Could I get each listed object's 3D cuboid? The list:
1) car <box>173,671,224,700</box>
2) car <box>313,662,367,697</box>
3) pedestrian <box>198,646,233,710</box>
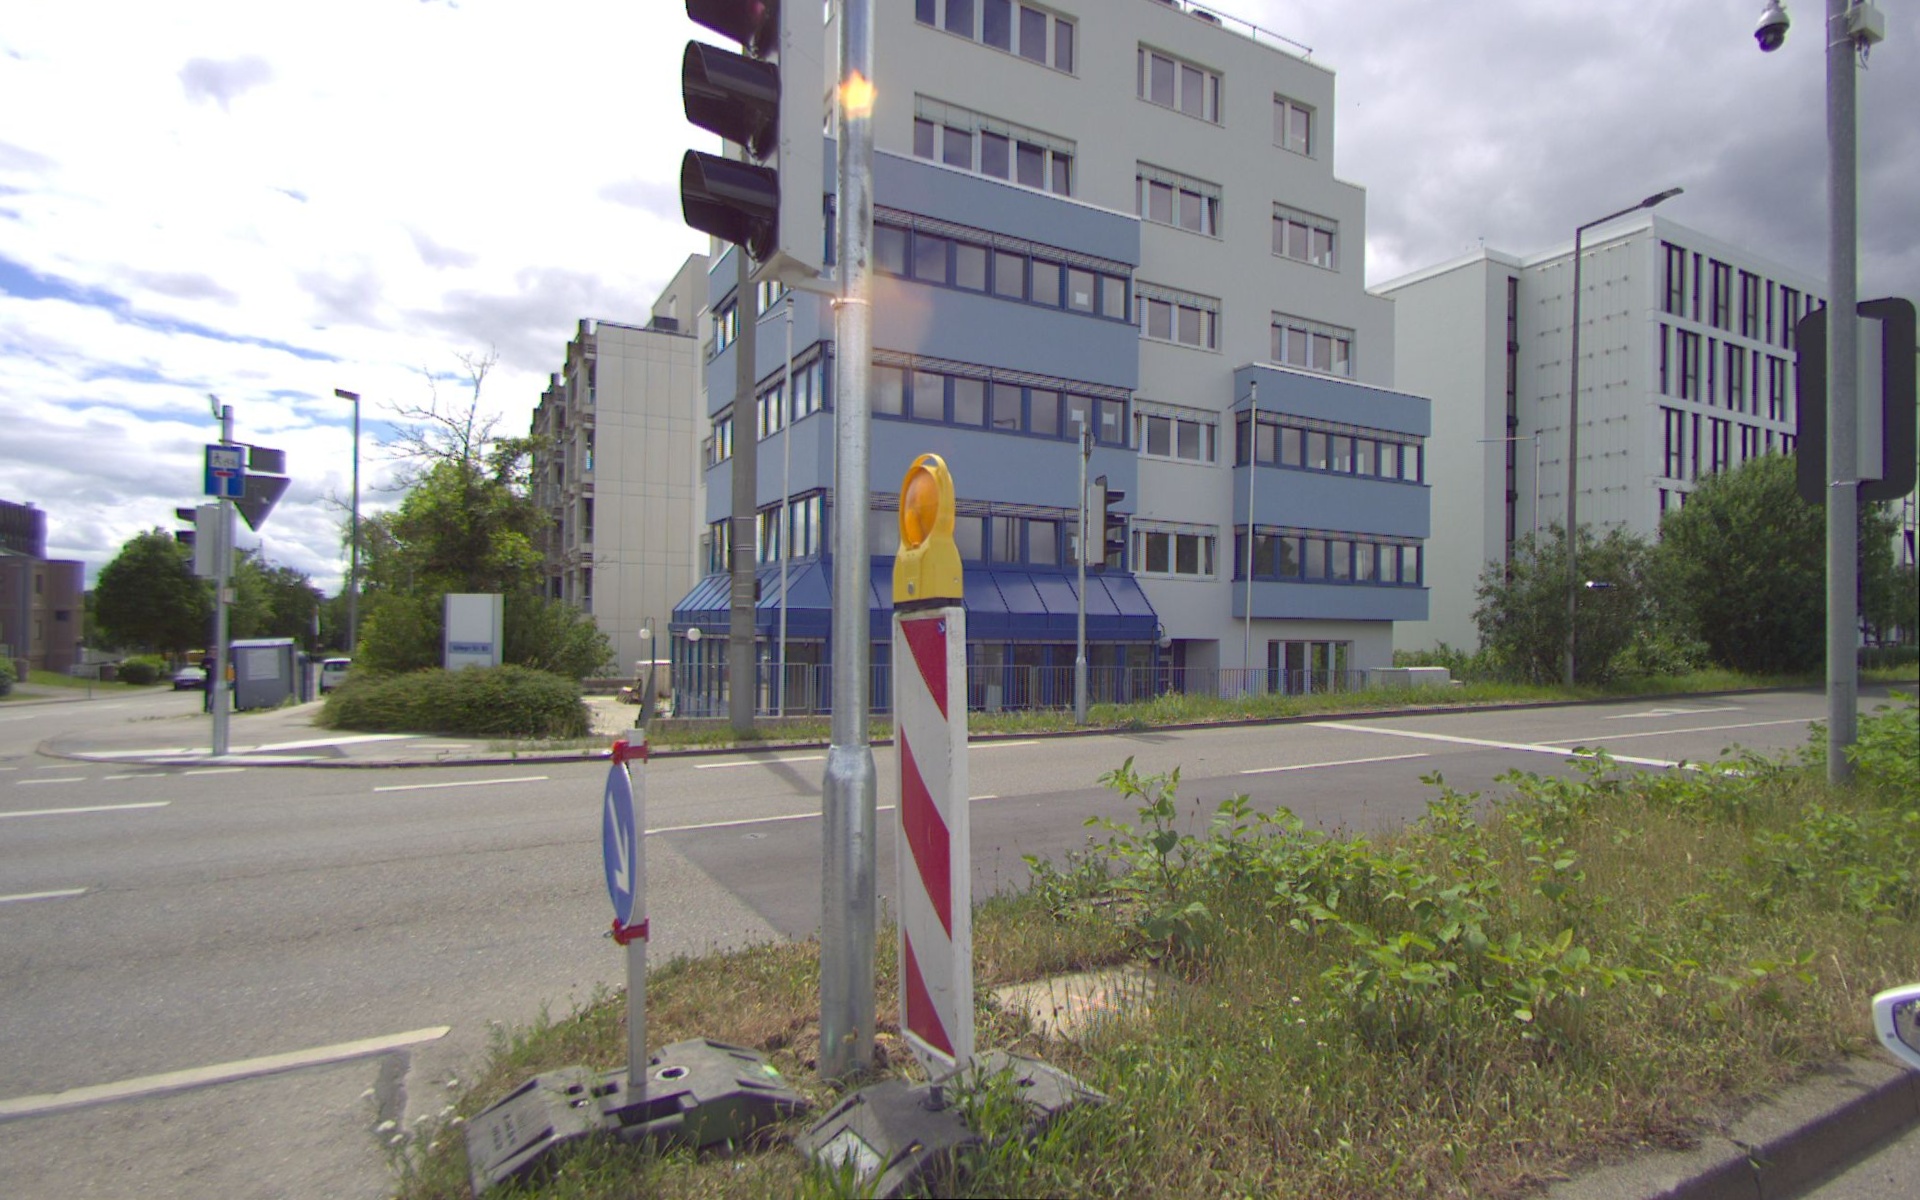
[{"bbox_3d":[-48.320,5.373,63.788,1.976,1.528,3.970,1,-1,-29],"label":"car"},{"bbox_3d":[-31.448,4.025,51.029,1.974,1.714,3.631,1,-4,-27],"label":"car"},{"bbox_3d":[-19.845,2.080,26.780,0.613,1.666,0.745,1,-4,-28],"label":"pedestrian"}]
